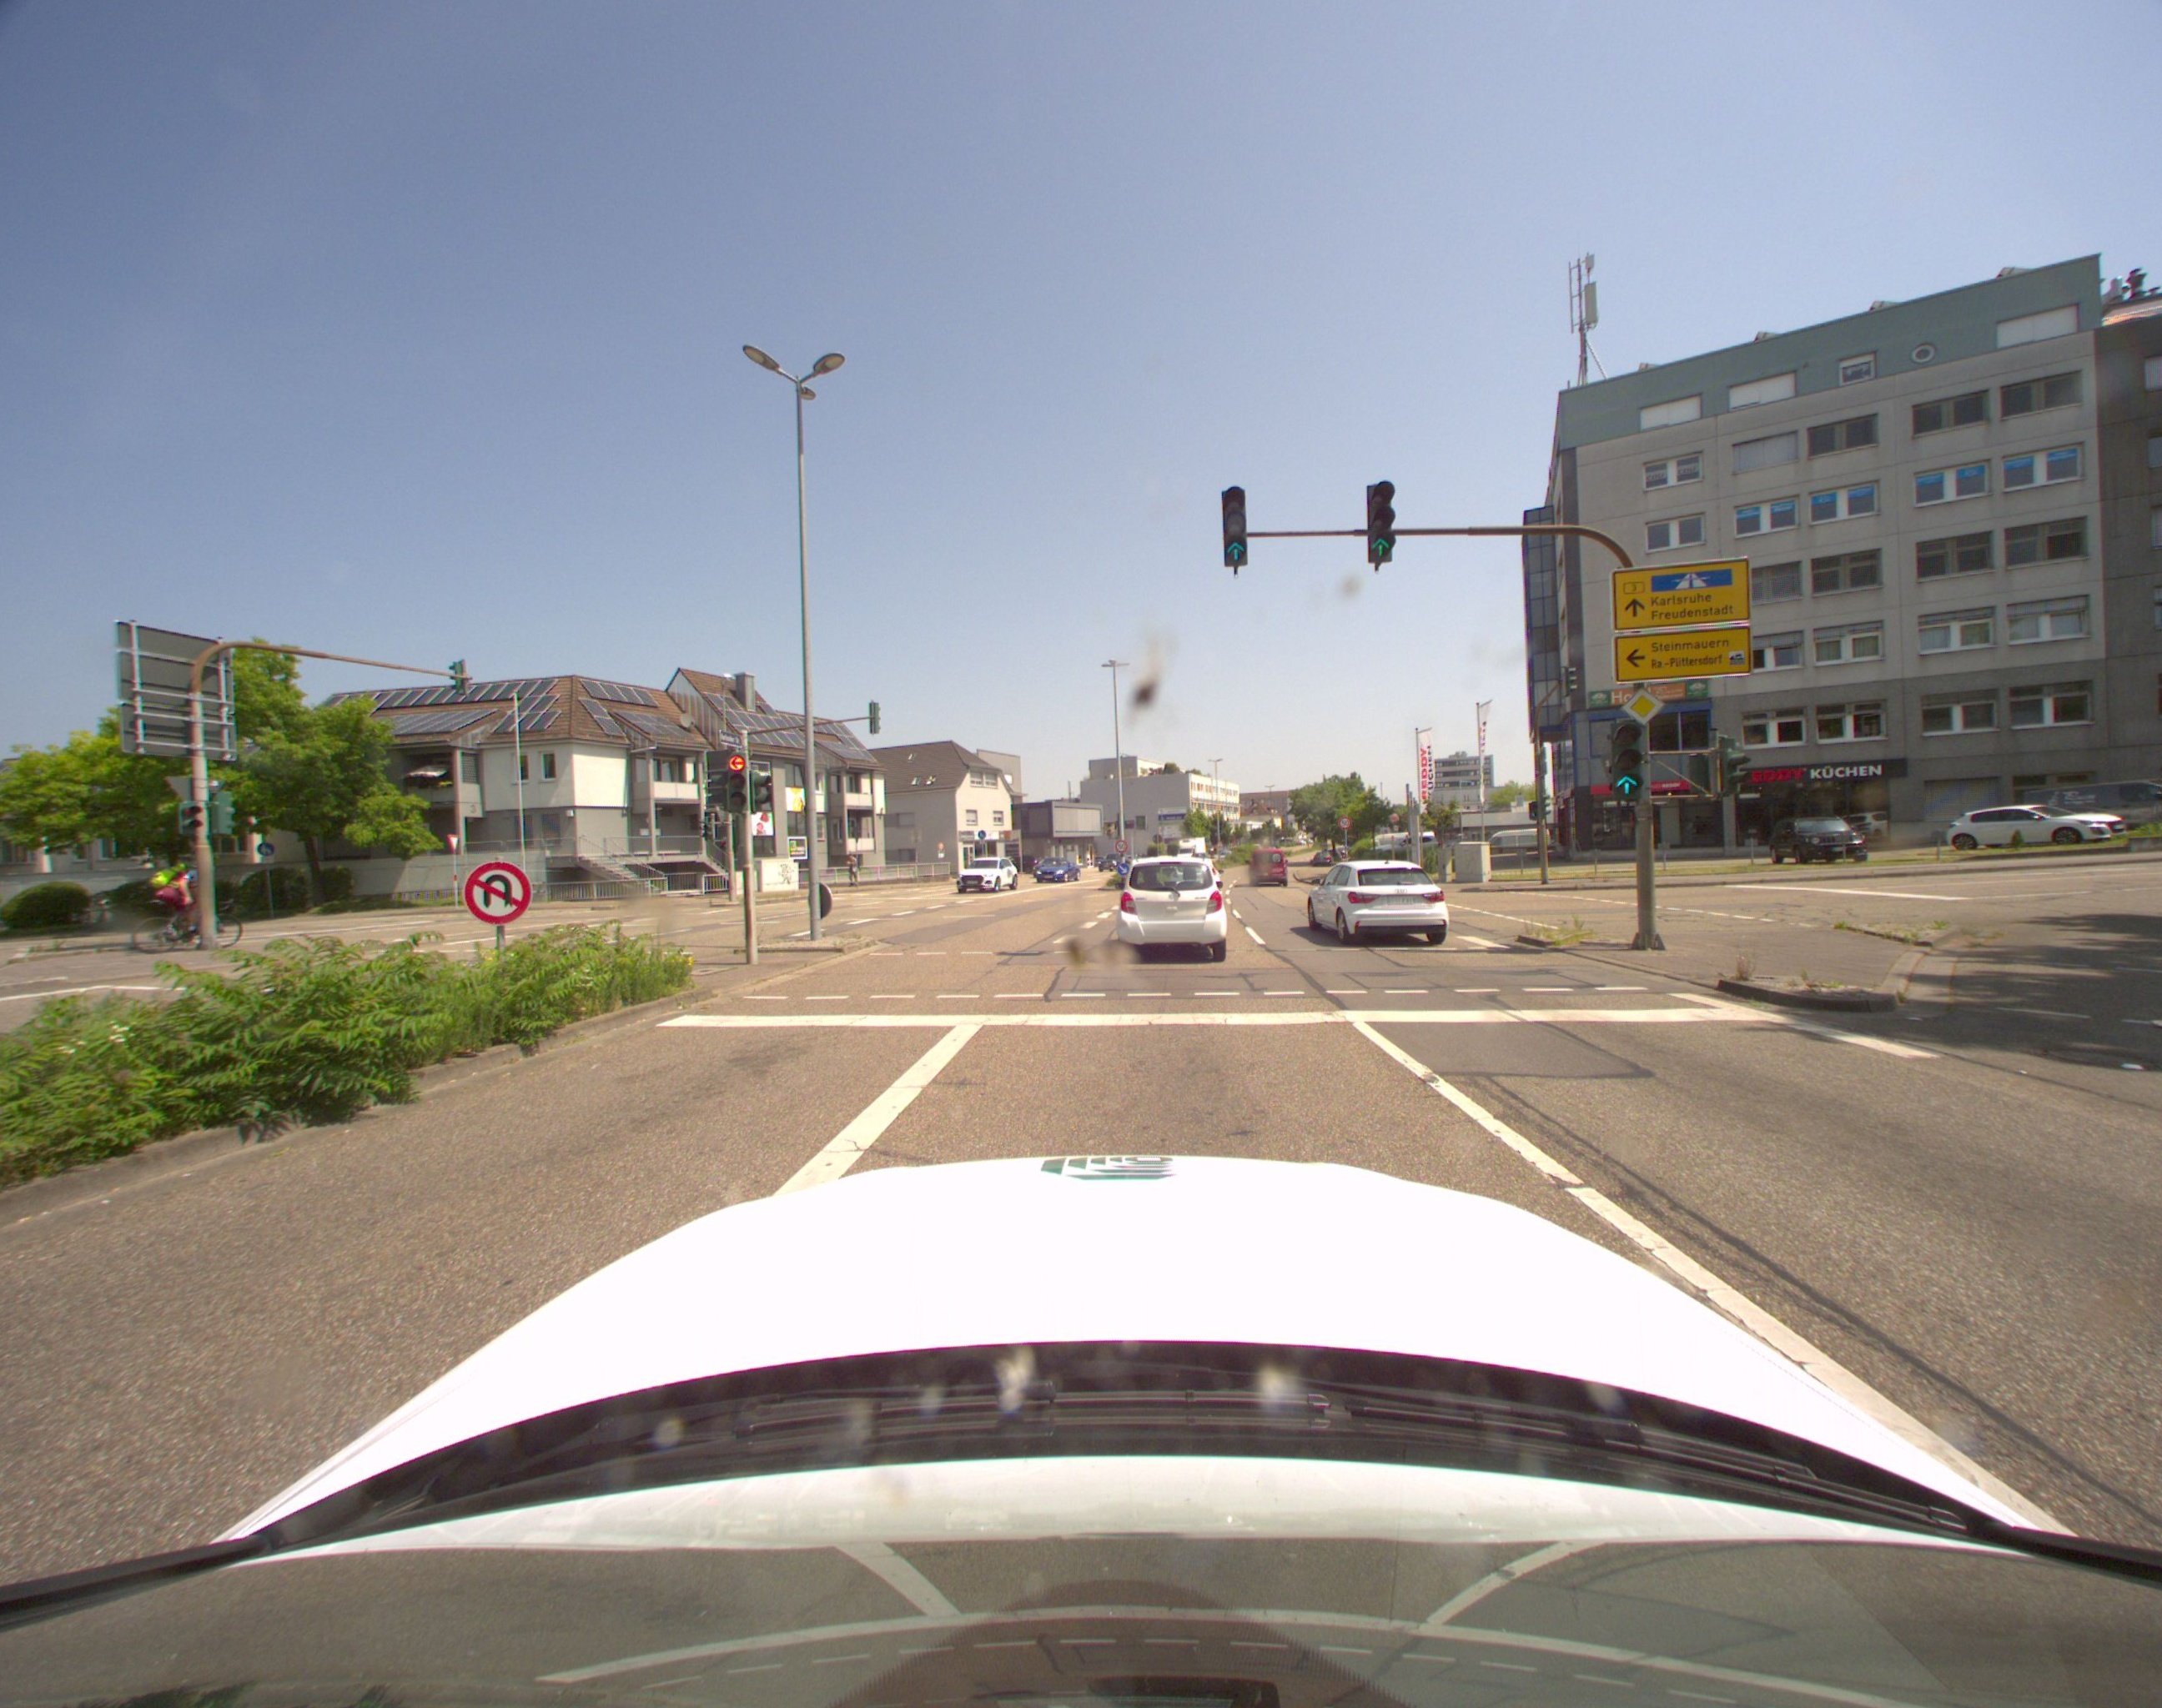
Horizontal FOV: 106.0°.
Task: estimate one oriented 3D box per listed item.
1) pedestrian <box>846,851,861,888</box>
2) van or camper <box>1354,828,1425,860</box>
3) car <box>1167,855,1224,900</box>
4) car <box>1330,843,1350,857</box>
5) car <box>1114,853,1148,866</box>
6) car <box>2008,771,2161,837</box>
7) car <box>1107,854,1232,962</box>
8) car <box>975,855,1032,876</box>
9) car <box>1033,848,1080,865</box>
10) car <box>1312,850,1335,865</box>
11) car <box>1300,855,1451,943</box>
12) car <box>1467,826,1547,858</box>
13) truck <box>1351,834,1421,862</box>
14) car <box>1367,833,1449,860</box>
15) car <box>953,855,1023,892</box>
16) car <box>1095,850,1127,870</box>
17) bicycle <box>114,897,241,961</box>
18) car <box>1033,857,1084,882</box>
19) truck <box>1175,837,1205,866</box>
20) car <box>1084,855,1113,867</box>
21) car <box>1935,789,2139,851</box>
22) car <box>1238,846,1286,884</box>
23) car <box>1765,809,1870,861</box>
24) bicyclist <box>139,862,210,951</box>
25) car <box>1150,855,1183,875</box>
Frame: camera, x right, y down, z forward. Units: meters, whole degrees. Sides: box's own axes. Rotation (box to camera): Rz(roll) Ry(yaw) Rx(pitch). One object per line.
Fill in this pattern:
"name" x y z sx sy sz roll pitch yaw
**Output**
"pedestrian" -12.672 0.847 45.416 0.500 2.013 0.744 -1 1 7
"van or camper" 32.275 -1.042 85.239 6.737 2.897 2.288 -3 0 22
"car" 4.016 0.769 28.583 1.819 1.450 4.009 -1 0 8
"car" 34.004 -0.521 106.785 1.943 1.530 5.190 -5 0 23
"car" 6.260 0.658 102.558 3.955 1.459 1.583 -3 -1 18
"car" 35.532 -1.646 27.578 1.889 2.037 5.164 0 0 -16
"car" 1.315 0.781 13.228 1.706 1.511 3.247 -1 -1 1
"car" -6.674 0.966 70.099 4.565 1.627 1.864 1 1 22
"car" -2.391 0.246 79.707 4.022 1.521 2.010 -3 -1 20
"car" 23.535 0.309 79.013 1.782 1.406 4.343 -1 0 21
"car" 5.261 0.731 15.052 1.659 1.399 3.798 -1 0 5
"car" 35.903 -0.973 68.814 5.831 2.528 2.132 -1 -1 26
"truck" 30.373 -0.615 81.085 6.188 2.336 2.382 -4 1 24
"car" 21.925 -0.483 54.692 4.713 1.713 1.998 -1 -1 -3
"car" -4.275 0.862 38.144 1.804 1.570 4.572 -1 0 13
"car" 2.737 0.496 73.273 1.979 1.656 4.610 -3 0 13
"bicycle" -17.533 1.424 15.863 0.419 1.054 1.790 -1 1 1
"car" -1.309 0.908 48.754 1.849 1.366 4.364 -1 0 15
"truck" 13.330 -0.295 98.922 2.246 3.417 7.072 -1 -1 18
"car" 2.685 1.034 122.797 3.940 1.467 1.973 -3 0 18
"car" 32.680 -1.092 28.036 1.542 1.533 4.200 1 -6 -16
"car" 8.783 0.518 39.706 1.786 1.729 3.979 -1 0 5
"car" 26.261 -0.666 29.199 1.524 1.675 4.354 -2 0 25
"bicyclist" -17.532 0.992 15.767 0.419 1.642 0.821 -1 0 1
"car" 6.624 0.832 62.926 1.850 1.431 4.762 -1 0 14
